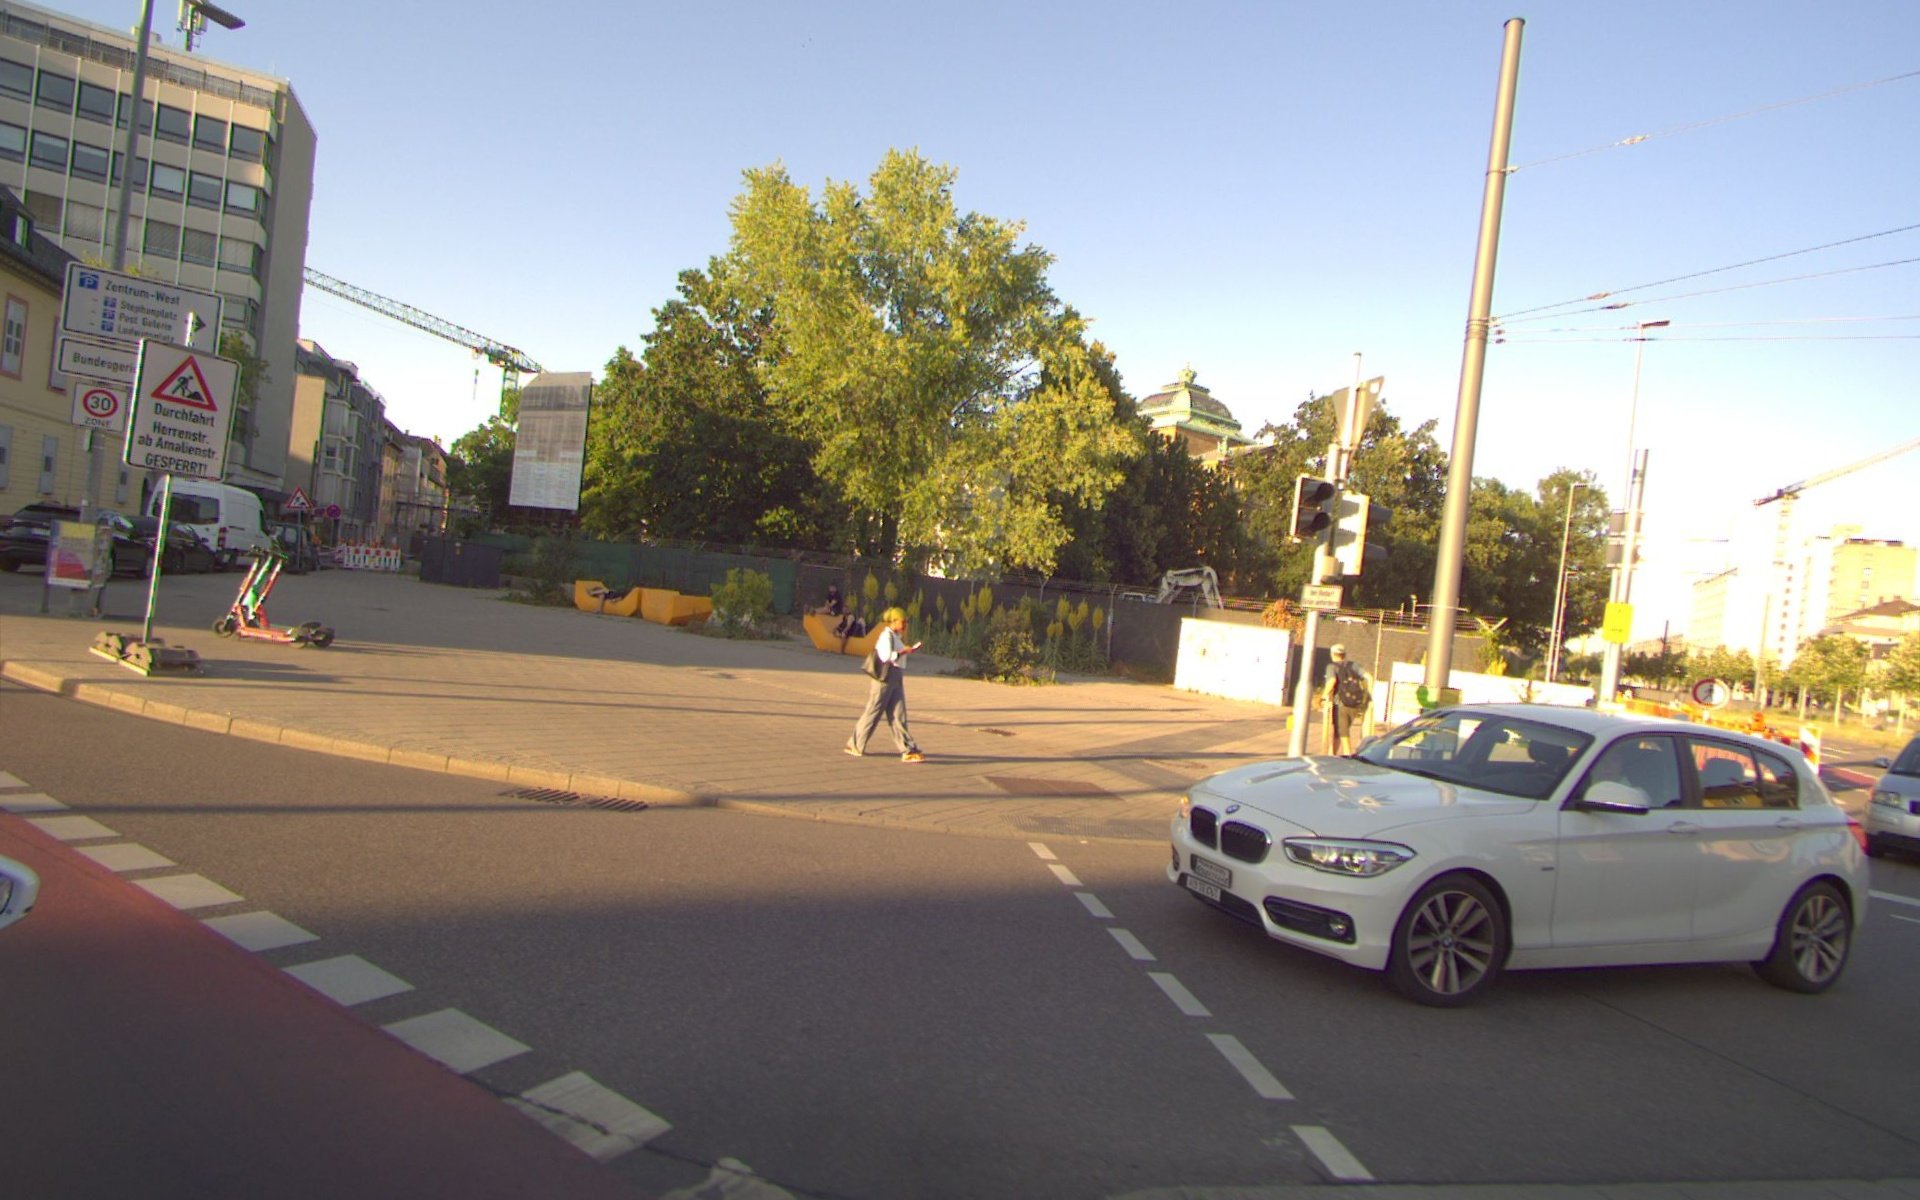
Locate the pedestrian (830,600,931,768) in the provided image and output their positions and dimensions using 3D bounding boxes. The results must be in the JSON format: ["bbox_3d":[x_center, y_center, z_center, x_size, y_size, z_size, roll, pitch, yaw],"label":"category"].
[{"bbox_3d":[-0.823,0.860,10.461,0.587,1.634,0.687,7,1,37],"label":"pedestrian"}]

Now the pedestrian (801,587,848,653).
[{"bbox_3d":[-3.651,0.547,27.169,0.752,1.686,0.820,7,1,35],"label":"pedestrian"}]

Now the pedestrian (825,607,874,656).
[{"bbox_3d":[-2.930,0.847,26.823,0.723,1.172,0.987,7,0,34],"label":"pedestrian"}]

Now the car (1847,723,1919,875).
[{"bbox_3d":[12.055,2.388,11.930,3.697,1.579,1.664,7,-2,-39],"label":"car"}]

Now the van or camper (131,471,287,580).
[{"bbox_3d":[-23.202,-2.178,31.432,2.055,2.809,6.418,6,0,-21],"label":"van or camper"}]

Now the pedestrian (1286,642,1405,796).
[{"bbox_3d":[4.855,1.483,12.709,0.928,1.758,0.819,6,1,-13],"label":"pedestrian"}]

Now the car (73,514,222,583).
[{"bbox_3d":[-20.898,-1.305,26.094,1.712,1.447,4.449,7,0,-23],"label":"car"}]

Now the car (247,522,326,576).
[{"bbox_3d":[-27.153,-2.035,40.699,1.695,1.871,4.001,7,0,-22],"label":"car"}]

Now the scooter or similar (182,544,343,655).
[{"bbox_3d":[-9.459,0.001,13.696,1.628,1.308,0.460,7,0,-16],"label":"scooter or similar"}]

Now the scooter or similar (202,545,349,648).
[{"bbox_3d":[-9.645,-0.043,14.230,1.503,1.276,0.610,6,1,-16],"label":"scooter or similar"}]

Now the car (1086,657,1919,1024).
[{"bbox_3d":[3.122,1.284,5.892,4.243,1.423,1.908,6,-1,-20],"label":"car"}]

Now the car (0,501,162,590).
[{"bbox_3d":[-19.089,-1.162,21.771,1.761,1.562,4.265,7,0,-25],"label":"car"}]

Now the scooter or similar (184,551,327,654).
[{"bbox_3d":[-9.237,0.037,13.237,1.383,1.181,0.459,6,1,-17],"label":"scooter or similar"}]

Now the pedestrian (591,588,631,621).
[{"bbox_3d":[-10.905,0.142,31.439,0.963,0.904,0.562,6,0,13],"label":"pedestrian"}]

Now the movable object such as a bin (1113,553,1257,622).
[{"bbox_3d":[7.850,-0.506,35.622,1.978,2.039,4.984,6,0,-30],"label":"movable object such as a bin"}]
